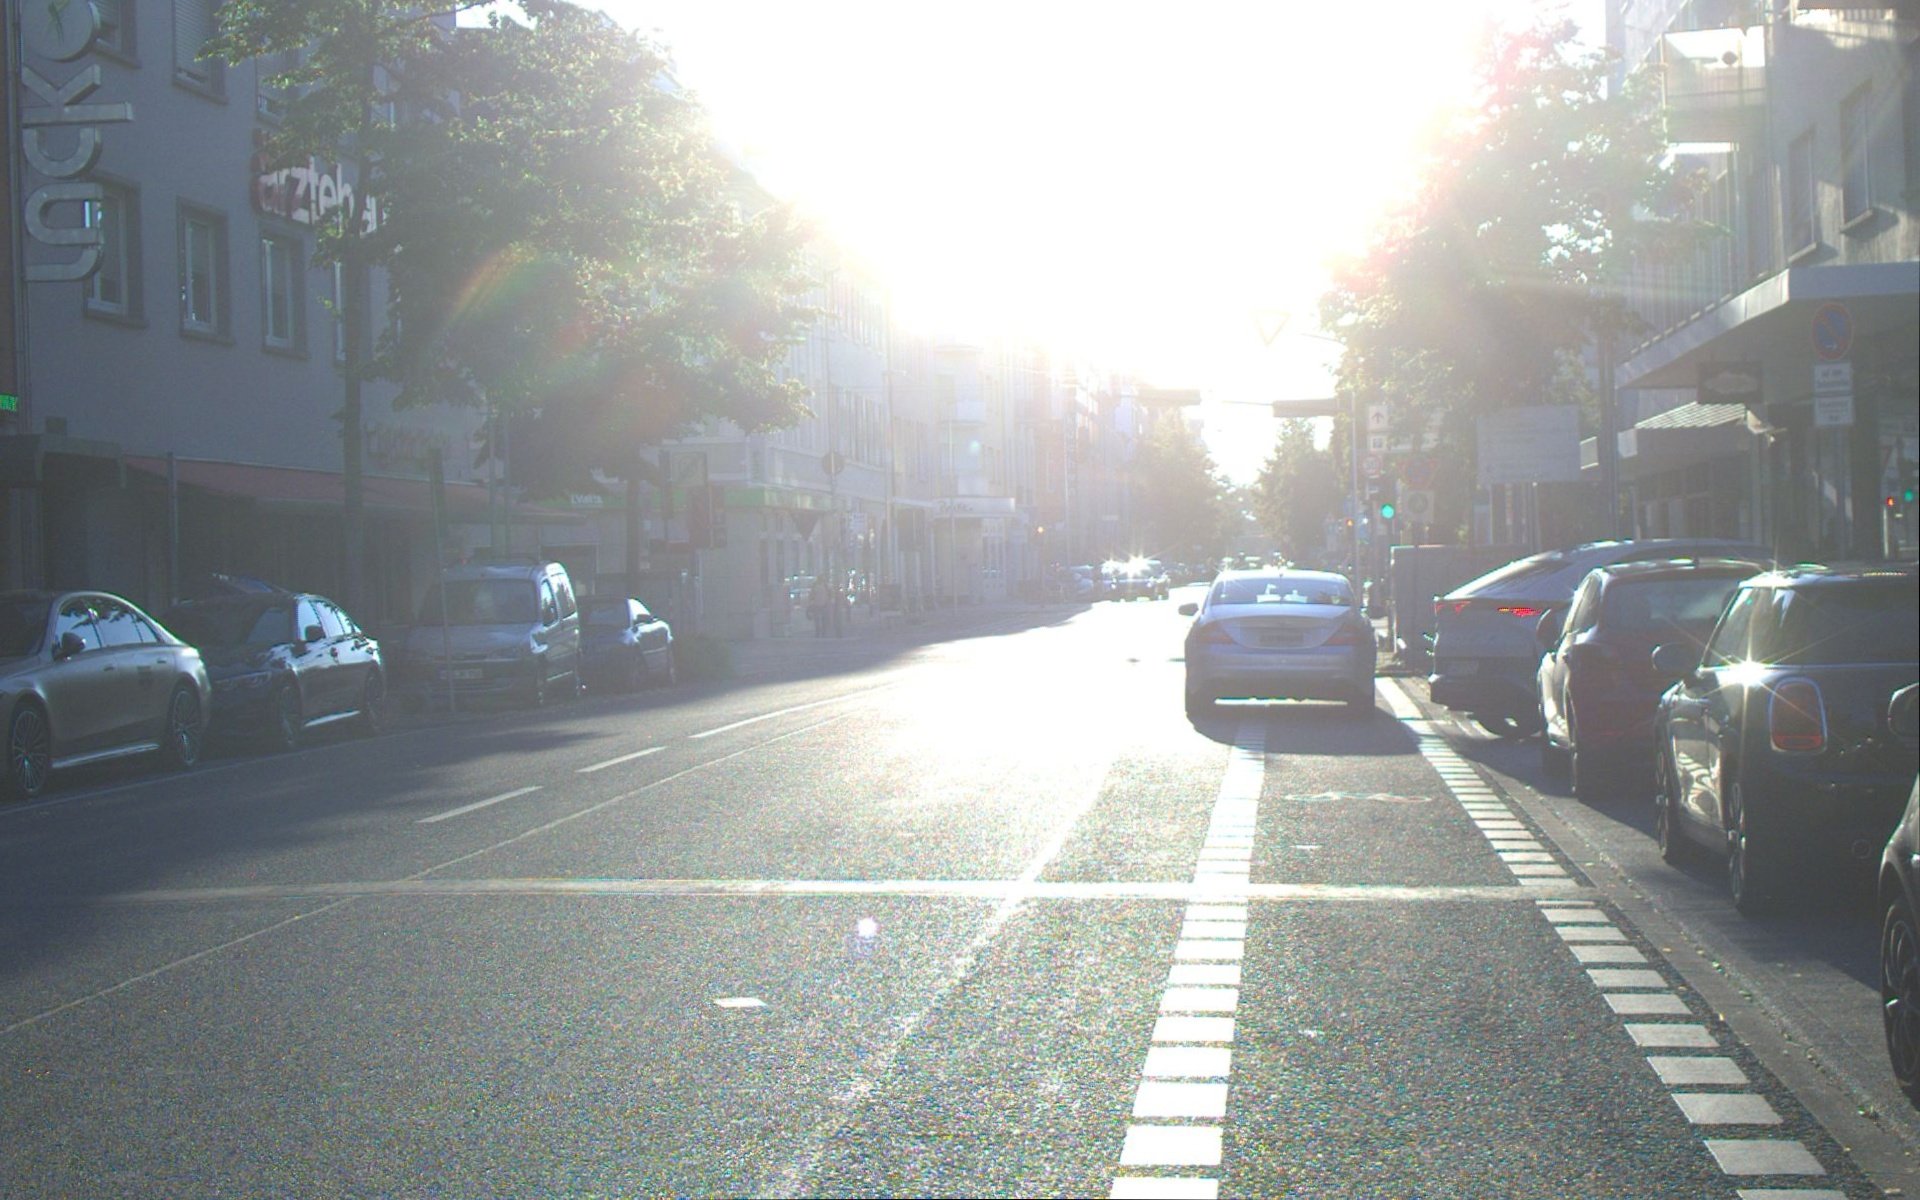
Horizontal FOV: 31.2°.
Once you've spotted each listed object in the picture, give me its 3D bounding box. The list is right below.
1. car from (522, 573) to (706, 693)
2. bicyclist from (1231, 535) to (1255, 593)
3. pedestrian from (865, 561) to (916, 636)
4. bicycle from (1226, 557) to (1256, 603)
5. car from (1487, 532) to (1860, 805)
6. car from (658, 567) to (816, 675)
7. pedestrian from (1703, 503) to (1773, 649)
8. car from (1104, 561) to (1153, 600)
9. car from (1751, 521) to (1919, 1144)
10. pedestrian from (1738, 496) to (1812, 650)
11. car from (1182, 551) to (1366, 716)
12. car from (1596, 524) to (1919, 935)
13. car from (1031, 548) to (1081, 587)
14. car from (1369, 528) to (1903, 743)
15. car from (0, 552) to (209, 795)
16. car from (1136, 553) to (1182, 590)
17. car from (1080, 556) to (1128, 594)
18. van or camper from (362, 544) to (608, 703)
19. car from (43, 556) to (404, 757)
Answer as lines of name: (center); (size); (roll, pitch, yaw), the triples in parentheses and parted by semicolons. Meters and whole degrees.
car: (-4.702, 0.422, 47.204); (1.690, 1.497, 3.786); (-1, 1, 7)
bicyclist: (7.792, -0.997, 94.658); (0.547, 1.575, 0.803); (-2, 1, 8)
pedestrian: (-1.927, -0.041, 95.819); (1.026, 2.007, 0.822); (-3, 1, 35)
bicycle: (7.752, -0.561, 94.744); (0.663, 1.238, 2.129); (0, 1, 8)
car: (4.500, 0.372, 22.188); (1.789, 1.575, 3.787); (-1, 1, 3)
car: (-3.345, 0.292, 52.241); (1.690, 1.497, 3.786); (-1, 1, 7)
pedestrian: (9.673, -0.301, 42.741); (0.718, 1.785, 0.666); (-2, 1, 6)
car: (6.882, -0.806, 139.925); (1.690, 1.497, 3.786); (-1, 1, 7)
car: (3.318, 0.562, 8.937); (1.789, 1.575, 3.967); (-1, 1, 3)
pedestrian: (9.675, -0.323, 40.820); (0.718, 1.785, 0.666); (-2, 1, 6)
car: (3.146, 0.282, 33.934); (1.690, 1.497, 3.786); (0, 1, 7)
car: (3.974, 0.463, 15.217); (1.789, 1.575, 3.787); (-1, 1, 3)
car: (3.916, -1.329, 139.718); (1.690, 1.497, 3.786); (-1, 1, 7)
car: (5.721, 0.246, 28.944); (4.307, 1.692, 1.879); (0, 1, -33)
car: (-7.390, 0.518, 25.804); (1.994, 1.649, 4.627); (-3, 1, 6)
car: (8.517, -1.220, 147.175); (1.690, 1.497, 3.786); (-1, 1, 7)
car: (6.122, -1.071, 145.676); (1.690, 1.497, 3.786); (-1, 1, 7)
van or camper: (-5.645, 0.233, 41.420); (1.788, 1.768, 4.557); (-1, 1, 7)
car: (-6.649, 0.456, 31.572); (1.994, 1.649, 4.479); (-1, 1, 5)
